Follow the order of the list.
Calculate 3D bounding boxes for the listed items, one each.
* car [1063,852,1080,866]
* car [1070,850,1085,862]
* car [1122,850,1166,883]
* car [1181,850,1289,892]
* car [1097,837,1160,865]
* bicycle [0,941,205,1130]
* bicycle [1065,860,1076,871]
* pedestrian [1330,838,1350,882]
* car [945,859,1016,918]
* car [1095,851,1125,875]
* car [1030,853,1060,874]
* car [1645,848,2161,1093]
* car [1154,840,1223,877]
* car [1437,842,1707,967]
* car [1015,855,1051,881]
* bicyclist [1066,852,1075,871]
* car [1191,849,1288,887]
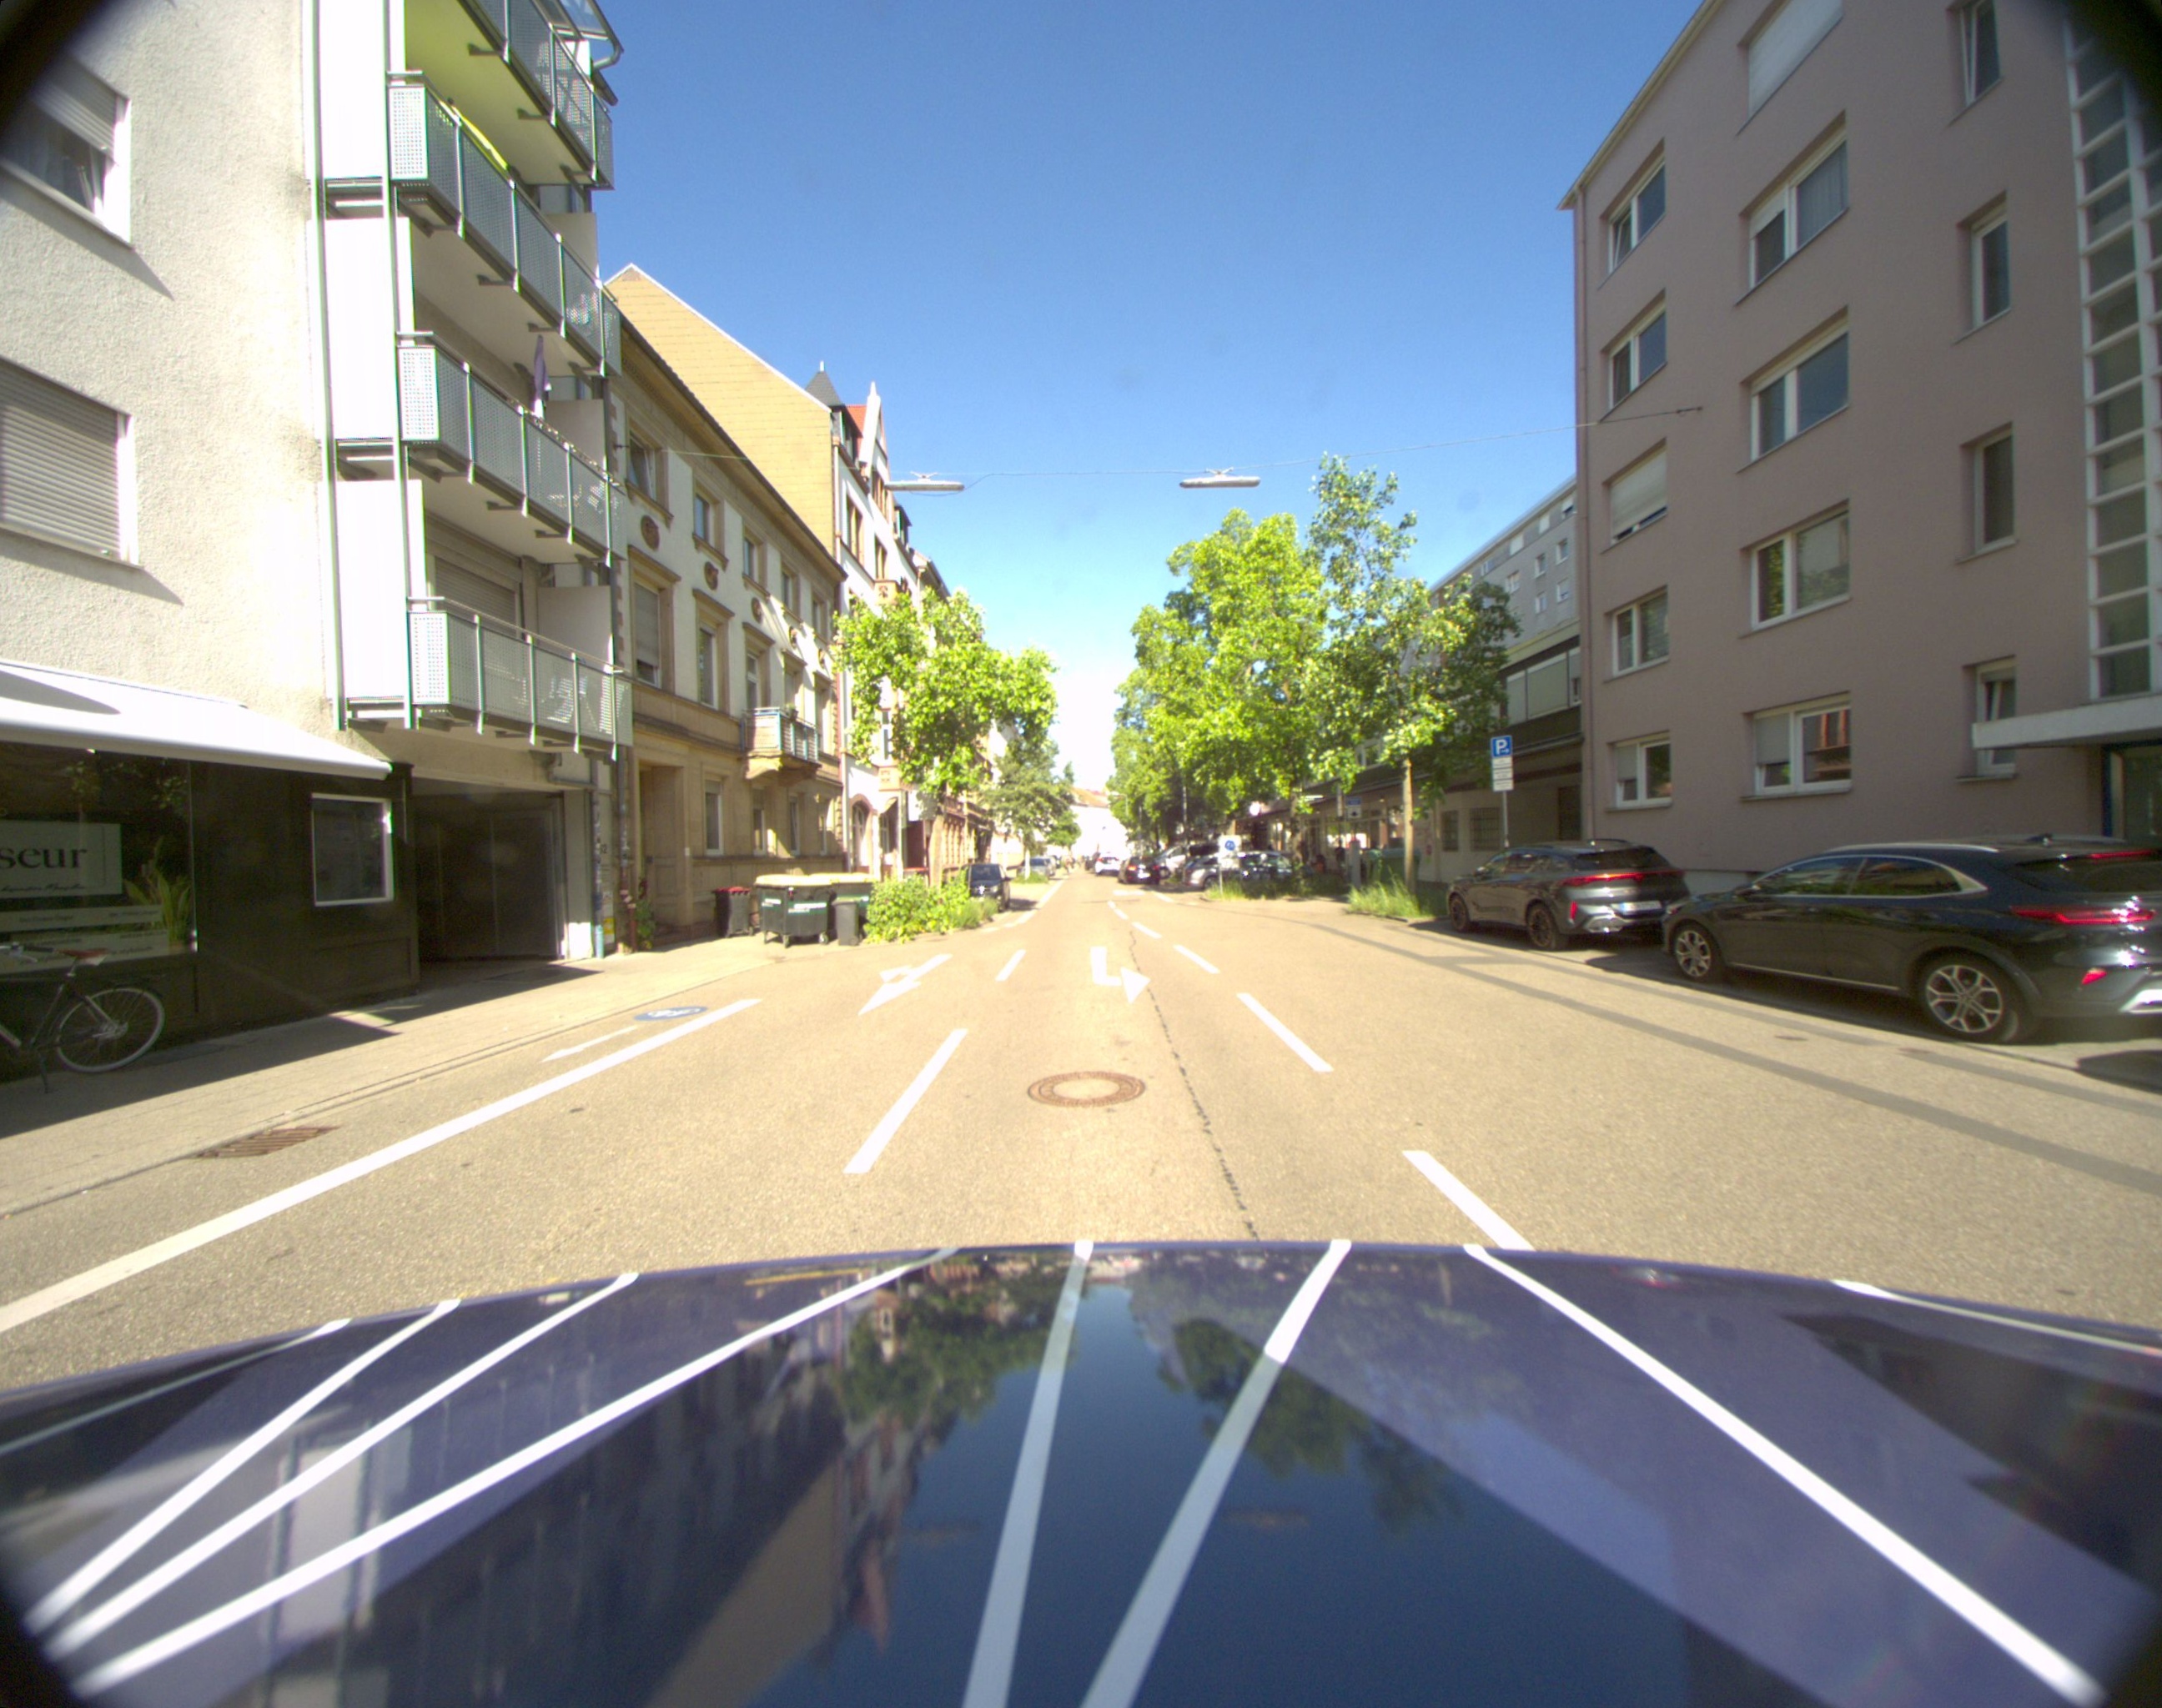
[{"bbox_3d":[-1.014,0.502,83.078,1.713,1.444,3.547,-2,0,2],"label":"car"},{"bbox_3d":[-0.413,0.255,92.445,1.713,1.444,3.547,-2,0,3],"label":"car"},{"bbox_3d":[3.172,0.604,39.114,1.911,1.543,4.000,-2,0,0],"label":"car"},{"bbox_3d":[6.136,0.667,30.636,3.996,1.543,1.913,-2,0,3],"label":"car"},{"bbox_3d":[4.425,-0.285,71.469,5.562,2.379,1.976,-2,1,-11],"label":"car"},{"bbox_3d":[-7.637,1.305,5.466,0.598,1.137,1.774,1,0,1],"label":"bicycle"},{"bbox_3d":[-0.778,0.891,57.535,0.582,0.801,1.710,-2,0,6],"label":"bicycle"},{"bbox_3d":[10.761,0.232,31.626,0.623,1.795,0.502,-2,1,2],"label":"pedestrian"},{"bbox_3d":[-3.006,0.997,23.303,1.627,1.586,3.547,-2,0,1],"label":"car"},{"bbox_3d":[1.973,0.590,52.605,1.911,1.543,4.000,-2,0,0],"label":"car"},{"bbox_3d":[-2.589,0.681,55.627,1.914,1.444,3.547,-2,0,1],"label":"car"},{"bbox_3d":[7.495,0.735,6.891,1.727,1.459,4.158,-4,0,2],"label":"car"},{"bbox_3d":[6.301,0.270,44.870,3.875,2.031,1.913,-2,1,3],"label":"car"},{"bbox_3d":[7.580,0.672,12.296,1.727,1.567,4.158,-4,0,2],"label":"car"},{"bbox_3d":[-2.854,0.803,45.816,1.914,1.444,3.546,-2,0,-1],"label":"car"},{"bbox_3d":[-0.786,0.555,57.513,0.582,1.369,0.665,-2,1,6],"label":"bicyclist"},{"bbox_3d":[7.006,0.622,33.917,3.996,1.543,1.913,-2,0,3],"label":"car"}]
